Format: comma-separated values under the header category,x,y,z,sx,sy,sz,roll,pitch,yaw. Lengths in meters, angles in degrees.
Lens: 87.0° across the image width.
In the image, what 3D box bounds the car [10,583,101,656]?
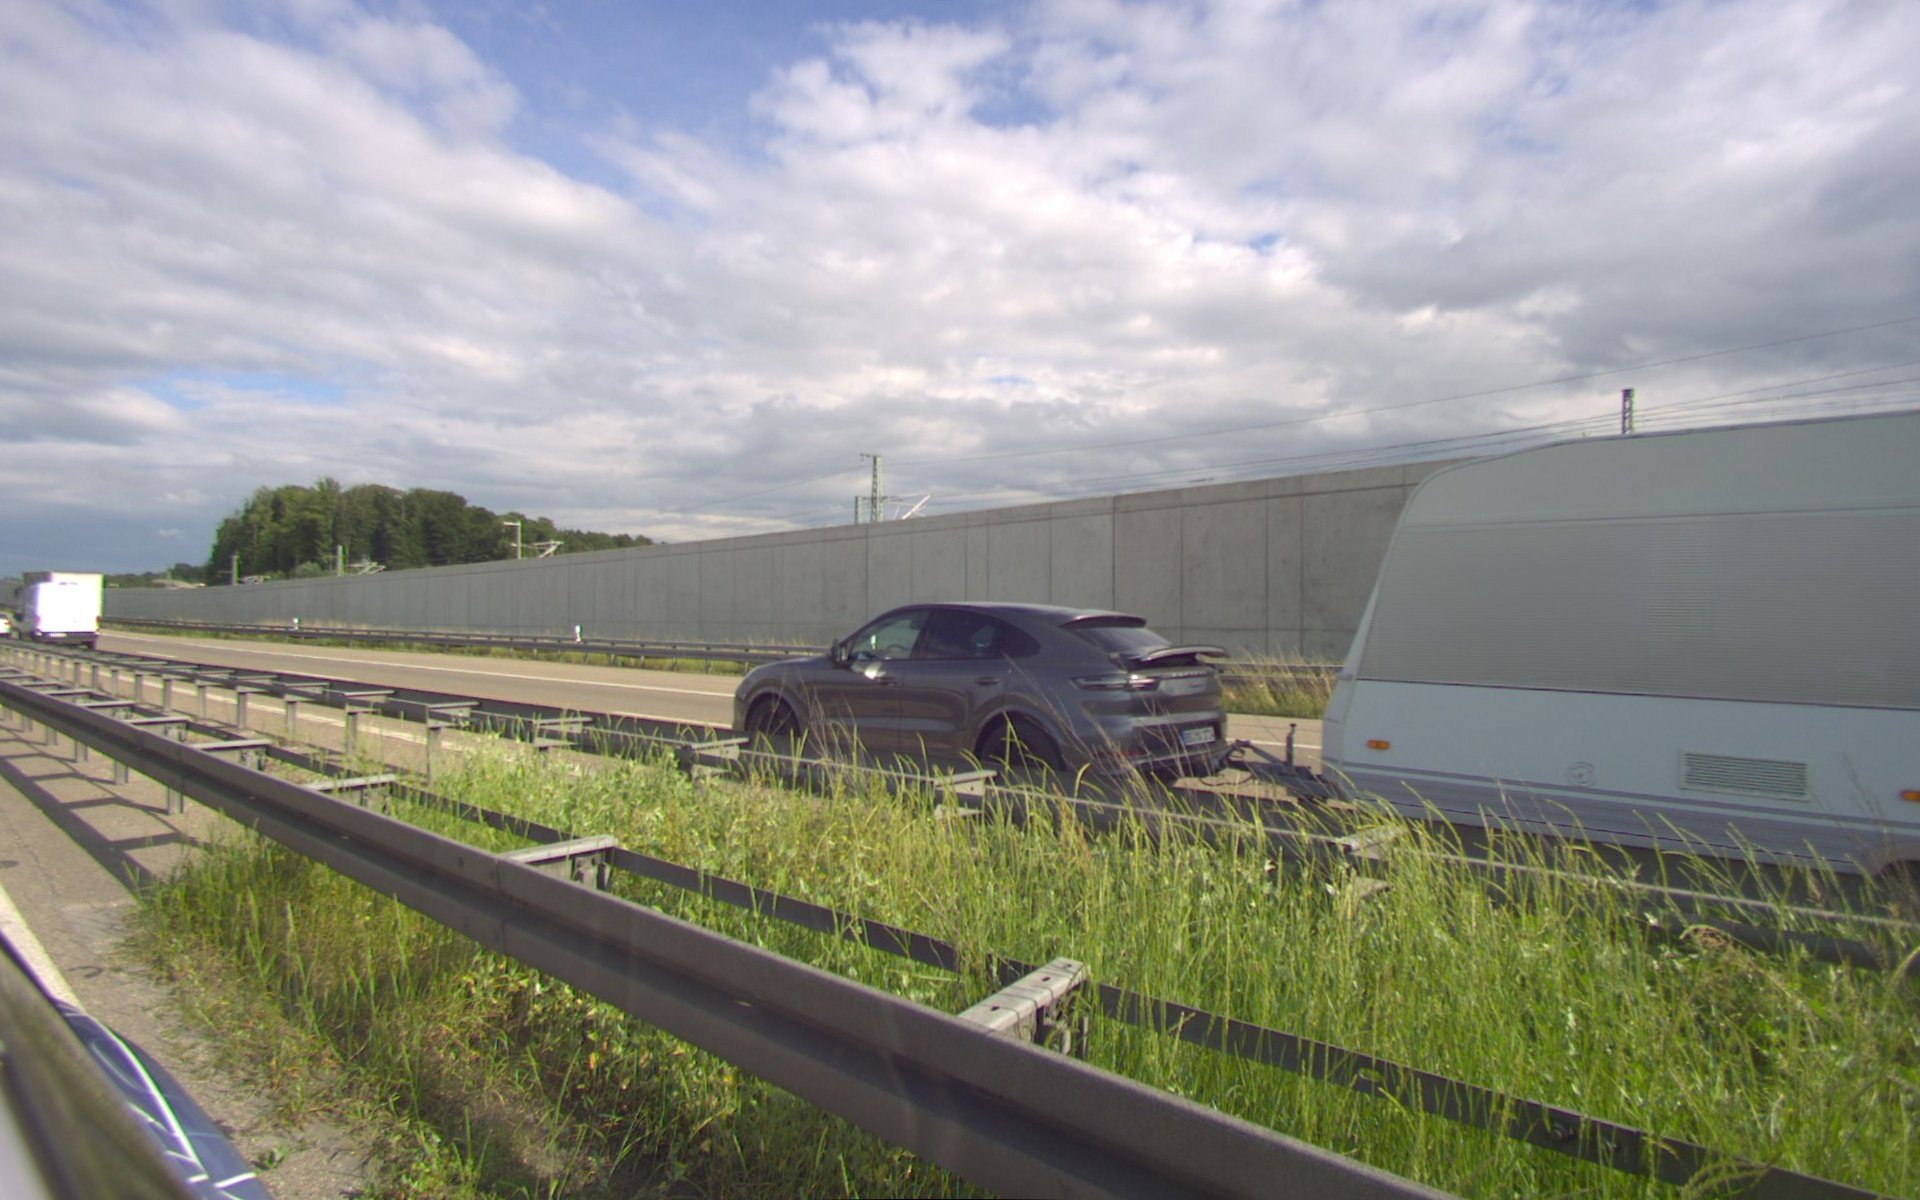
category,x,y,z,sx,sy,sz,roll,pitch,yaw
car,-37.821,0.813,42.267,5.633,2.892,2.082,-1,-1,41

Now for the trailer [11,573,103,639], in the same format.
category,x,y,z,sx,sy,sz,roll,pitch,yaw
trailer,-61.152,0.495,68.343,13.511,4.108,2.761,-1,-3,41

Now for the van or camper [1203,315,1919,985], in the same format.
category,x,y,z,sx,sy,sz,roll,pitch,yaw
van or camper,4.927,0.205,4.711,7.166,2.724,2.229,-1,-1,41

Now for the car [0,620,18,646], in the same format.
category,x,y,z,sx,sy,sz,roll,pitch,yaw
car,-54.696,1.858,57.084,4.230,1.462,1.854,-1,-1,41

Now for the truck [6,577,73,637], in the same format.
category,x,y,z,sx,sy,sz,roll,pitch,yaw
truck,-66.148,0.571,72.705,5.528,4.119,2.747,-1,-3,41

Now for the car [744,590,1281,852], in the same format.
category,x,y,z,sx,sy,sz,roll,pitch,yaw
car,0.260,0.817,8.656,4.359,1.684,1.891,-1,-1,41
